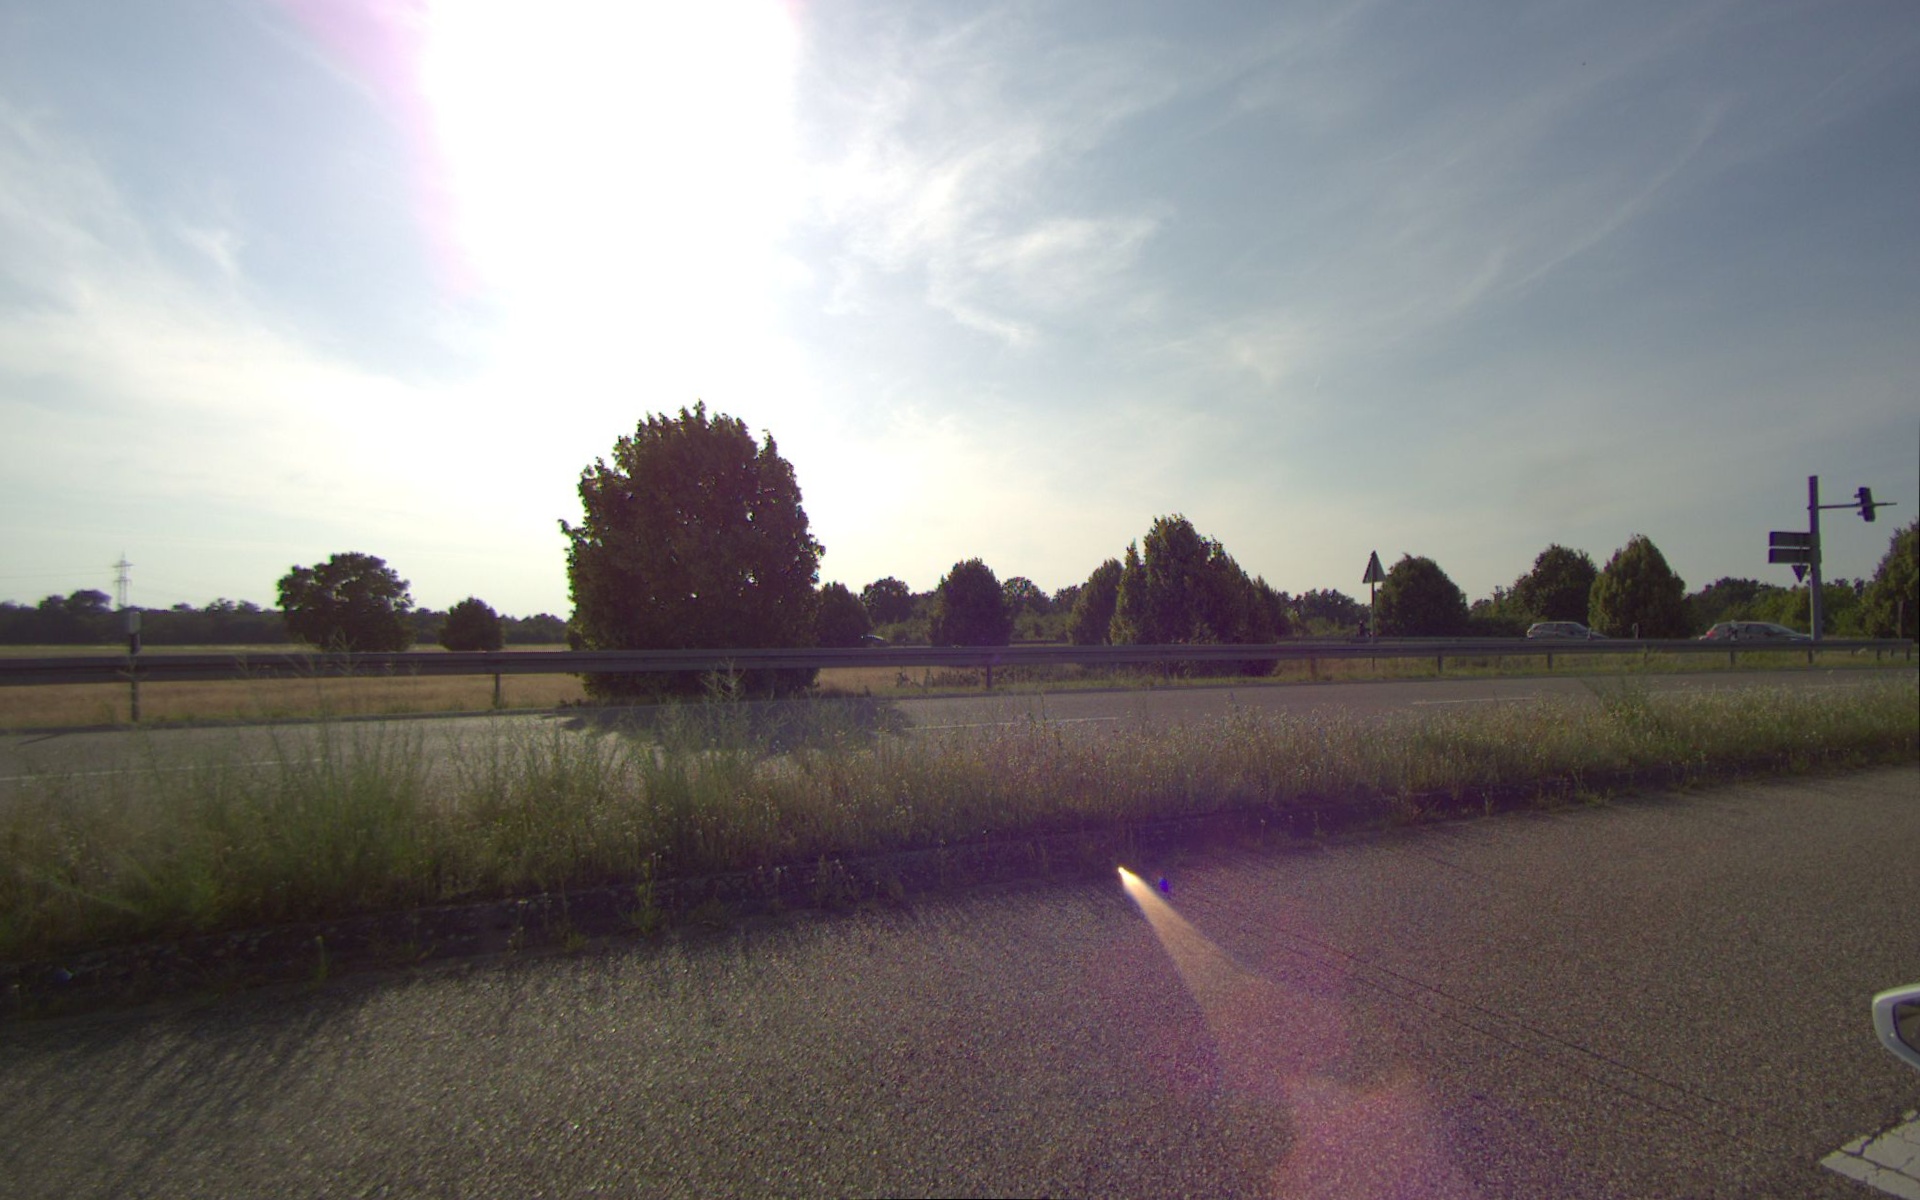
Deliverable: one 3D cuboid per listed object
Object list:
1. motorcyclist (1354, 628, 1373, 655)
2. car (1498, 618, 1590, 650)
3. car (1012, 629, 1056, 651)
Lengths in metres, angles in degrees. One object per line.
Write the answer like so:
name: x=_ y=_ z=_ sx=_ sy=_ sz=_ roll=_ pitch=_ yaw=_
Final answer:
motorcyclist: x=27.339 y=2.820 z=68.016 sx=0.898 sy=1.781 sz=0.824 roll=1 pitch=0 yaw=-35
car: x=32.465 y=1.882 z=55.967 sx=1.765 sy=1.626 sz=4.173 roll=2 pitch=-1 yaw=-22
car: x=7.501 y=4.045 z=101.473 sx=3.933 sy=2.040 sz=1.994 roll=2 pitch=-1 yaw=35
